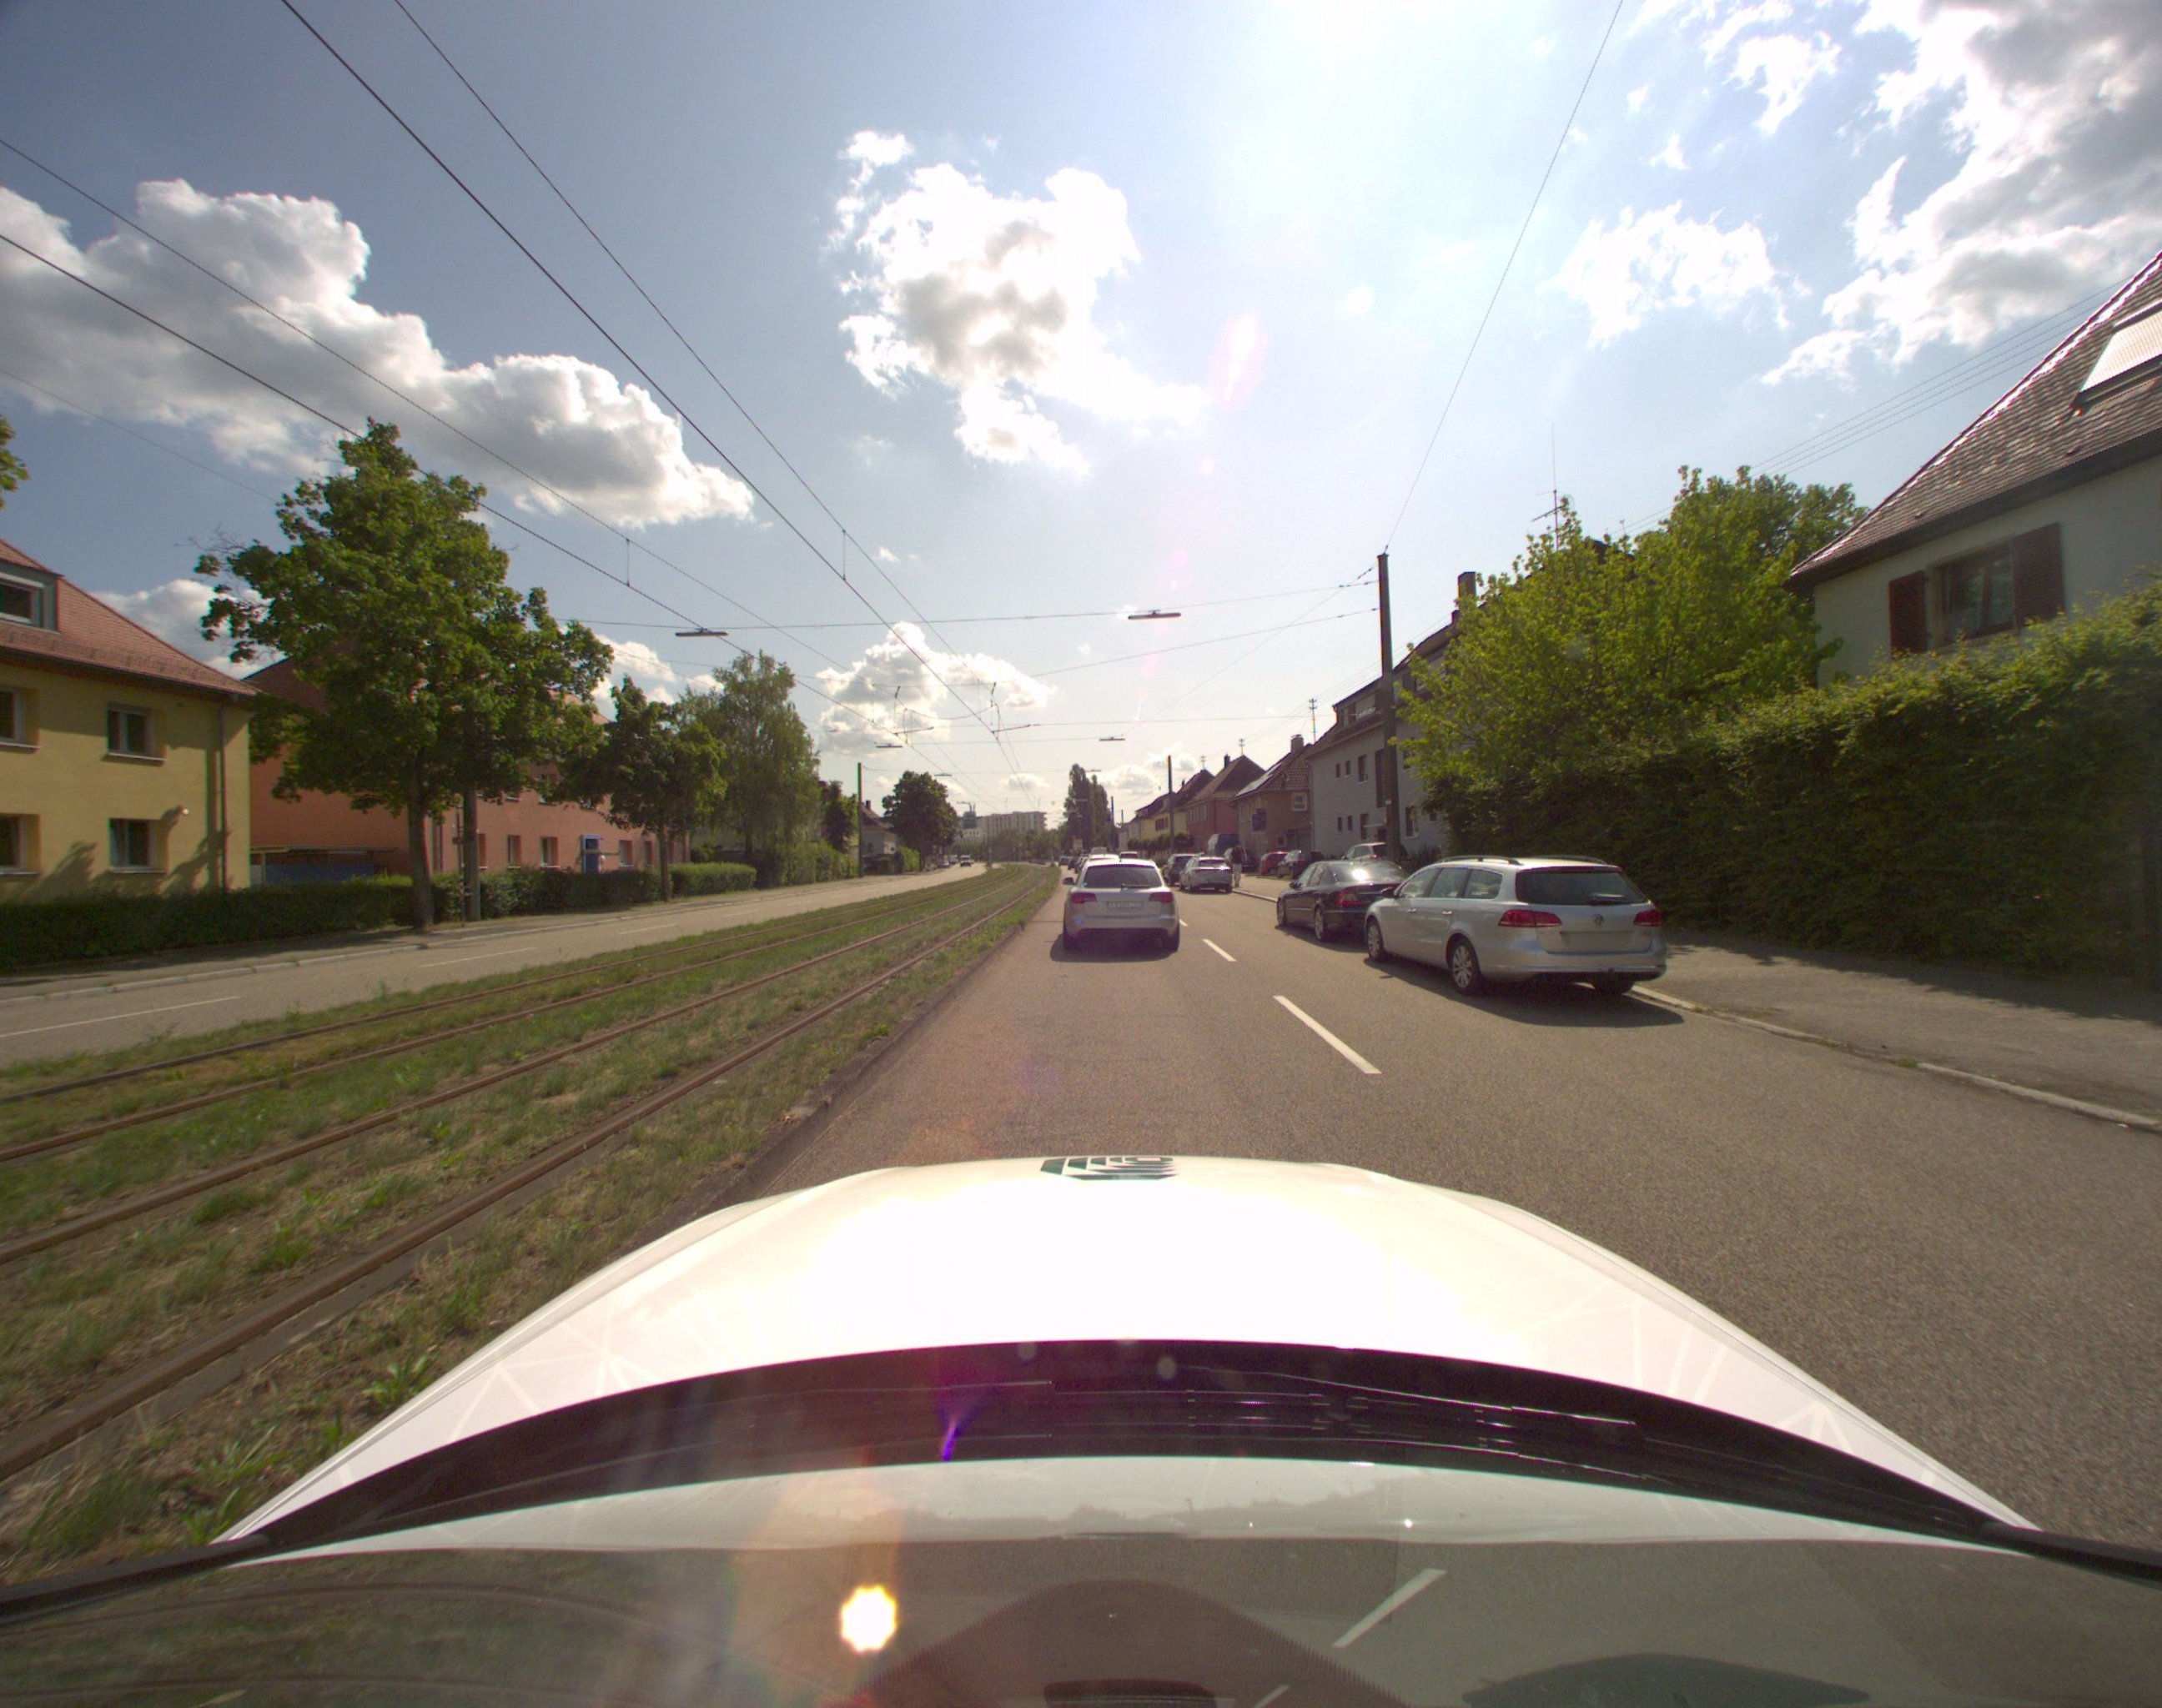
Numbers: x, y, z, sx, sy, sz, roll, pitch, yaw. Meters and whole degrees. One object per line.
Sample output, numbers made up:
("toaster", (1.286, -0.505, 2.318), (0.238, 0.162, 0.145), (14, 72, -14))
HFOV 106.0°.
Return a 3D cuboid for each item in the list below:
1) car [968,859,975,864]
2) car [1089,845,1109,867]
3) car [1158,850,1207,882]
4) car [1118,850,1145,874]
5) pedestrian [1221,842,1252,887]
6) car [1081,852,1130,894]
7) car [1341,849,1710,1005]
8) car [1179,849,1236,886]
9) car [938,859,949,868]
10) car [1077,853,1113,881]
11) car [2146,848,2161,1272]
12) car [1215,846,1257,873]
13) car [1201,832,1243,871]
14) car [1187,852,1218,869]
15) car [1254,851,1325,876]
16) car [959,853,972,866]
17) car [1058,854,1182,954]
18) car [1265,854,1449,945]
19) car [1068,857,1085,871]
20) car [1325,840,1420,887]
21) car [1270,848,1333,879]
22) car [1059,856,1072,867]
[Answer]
("car", (-31.107, 2.075, 231.666), (1.897, 1.541, 3.716), (0, -1, -10))
("car", (2.137, 0.230, 99.319), (2.037, 2.557, 5.224), (-1, 0, -4))
("car", (5.055, 0.599, 41.075), (1.803, 1.559, 4.249), (0, -1, -2))
("car", (3.732, 0.577, 60.194), (1.877, 1.731, 4.097), (-2, 0, 3))
("pedestrian", (6.965, 0.472, 36.561), (1.108, 1.946, 1.091), (-1, -1, -1))
("car", (0.938, 0.722, 32.677), (1.782, 1.577, 4.093), (1, 0, -1))
("car", (4.976, 0.718, 10.151), (1.884, 1.455, 5.005), (0, -1, 0))
("car", (5.210, 0.554, 34.099), (1.808, 1.454, 4.645), (0, -1, 2))
("car", (-26.092, 1.817, 154.549), (1.783, 1.584, 3.924), (-1, 0, -5))
("car", (0.763, 0.730, 46.056), (1.879, 1.466, 4.094), (-2, 0, 0))
("car", (4.555, 0.700, 0.816), (1.730, 1.489, 4.097), (0, -1, 3))
("car", (10.875, 0.383, 57.616), (1.831, 1.711, 4.860), (-3, 0, -2))
("car", (10.940, -0.165, 63.873), (2.145, 2.930, 6.241), (0, -1, -1))
("car", (10.531, 0.589, 70.748), (1.646, 1.409, 4.342), (-2, -1, -5))
("car", (12.119, 0.561, 47.399), (3.641, 1.380, 1.725), (-1, -1, -3))
("car", (-22.861, 1.169, 161.257), (2.196, 2.372, 5.314), (-2, -1, -10))
("car", (0.699, 0.761, 14.452), (1.847, 1.492, 4.539), (0, 0, 3))
("car", (4.997, 0.738, 15.588), (1.893, 1.443, 5.058), (0, 0, 1))
("car", (-0.457, 1.061, 89.029), (1.879, 1.530, 4.093), (0, -1, 0))
("car", (11.181, 0.369, 31.628), (1.753, 1.647, 4.763), (-2, -1, -3))
("car", (11.189, 0.477, 41.590), (1.793, 1.423, 4.855), (-2, 0, -1))
("car", (-2.233, 1.094, 120.153), (1.879, 1.530, 4.093), (0, -1, 0))
